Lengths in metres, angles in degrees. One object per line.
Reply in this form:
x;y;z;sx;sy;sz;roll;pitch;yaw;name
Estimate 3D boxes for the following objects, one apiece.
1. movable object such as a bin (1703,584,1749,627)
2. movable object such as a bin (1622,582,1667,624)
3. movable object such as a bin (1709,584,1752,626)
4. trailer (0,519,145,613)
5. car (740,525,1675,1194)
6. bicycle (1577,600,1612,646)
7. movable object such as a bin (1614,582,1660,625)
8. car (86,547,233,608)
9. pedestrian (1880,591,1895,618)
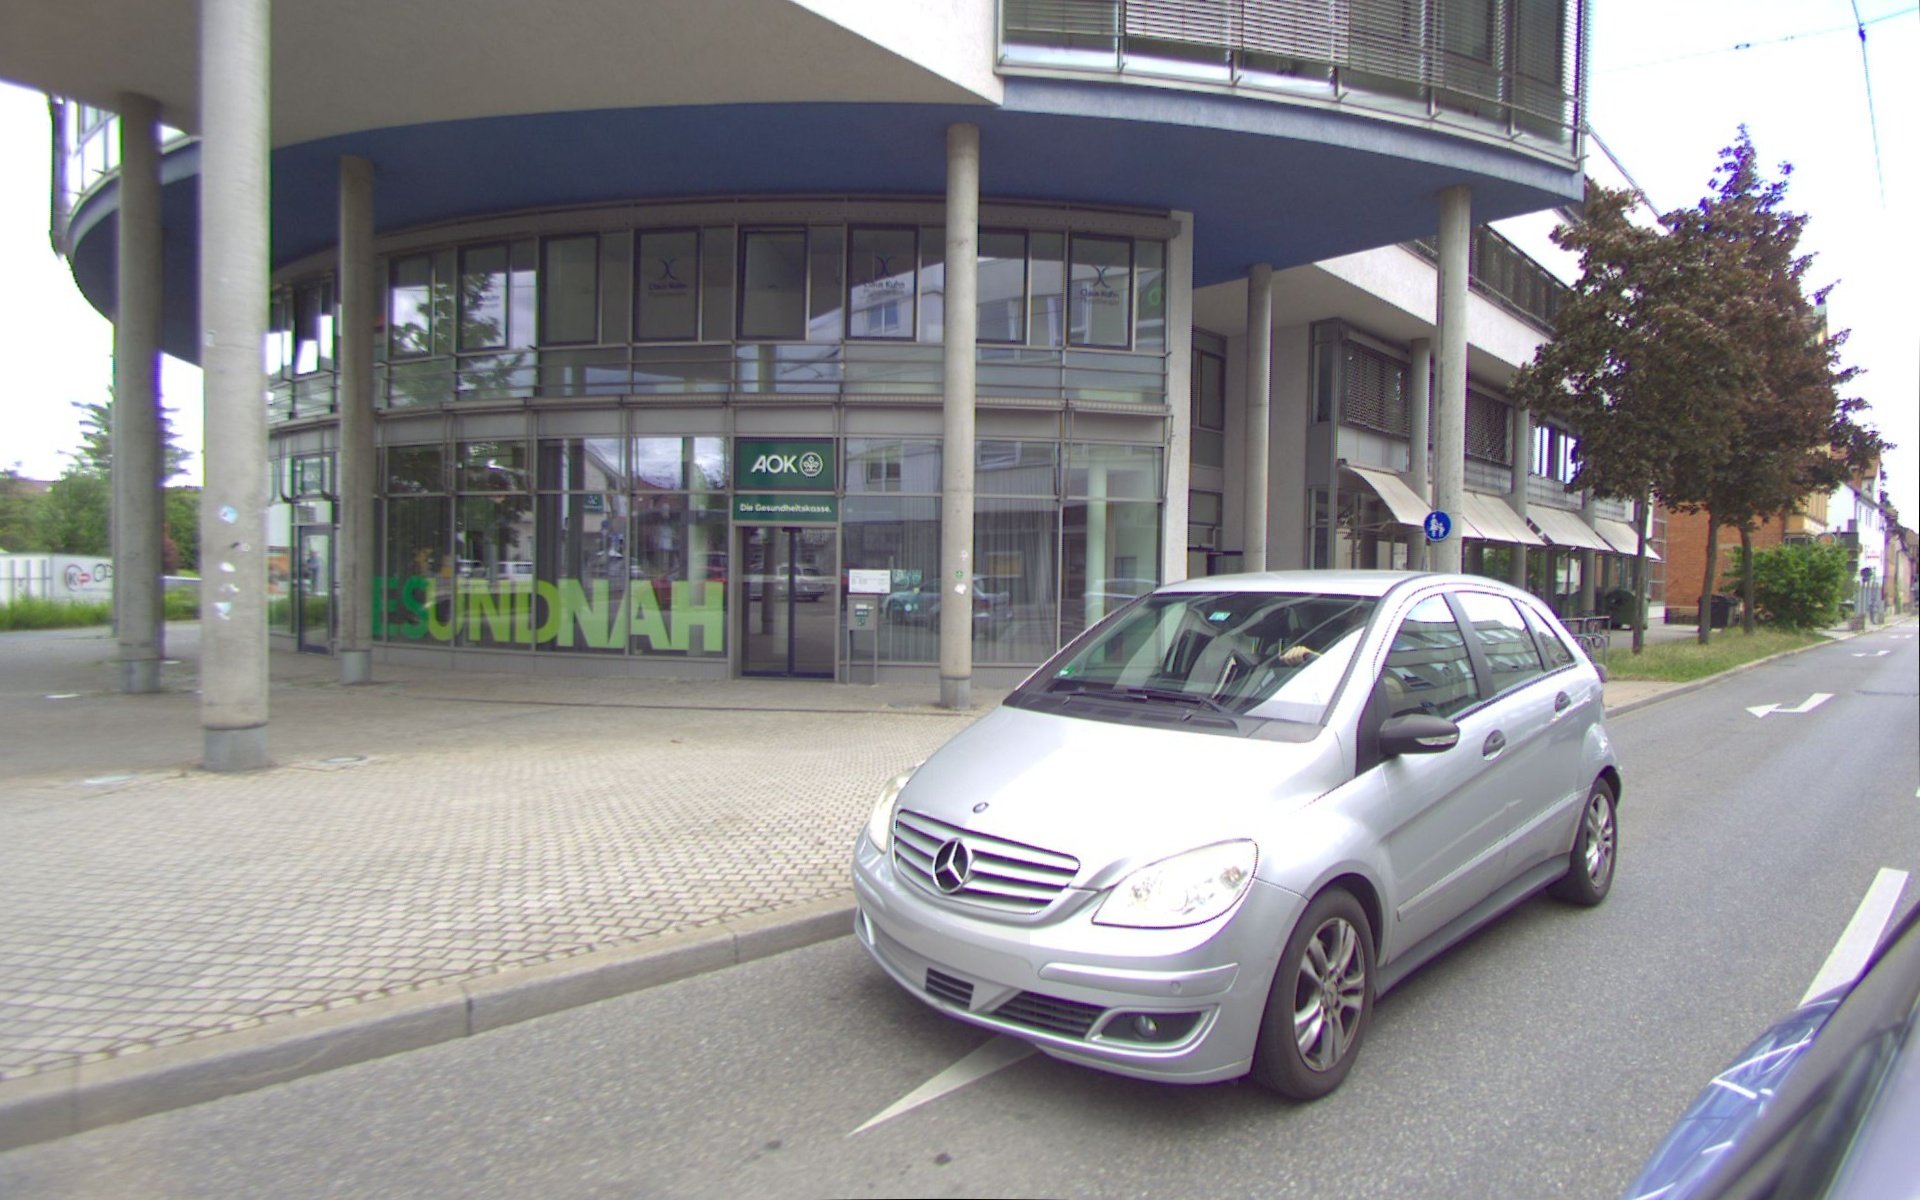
28.249;0.194;37.315;1.128;1.483;1.390;4;3;44;movable object such as a bin
25.589;0.081;37.847;1.122;1.483;1.312;4;3;44;movable object such as a bin
29.165;0.180;38.308;1.098;1.483;1.312;4;3;44;movable object such as a bin
-26.986;-1.005;30.494;1.845;2.646;4.330;1;1;-9;trailer
1.483;0.598;4.637;4.492;1.566;1.996;0;0;-42;car
16.046;0.570;25.570;0.361;1.100;1.995;0;1;43;bicycle
24.669;0.098;36.873;1.098;1.483;1.312;4;3;44;movable object such as a bin
-27.563;-0.778;35.081;1.845;1.970;4.915;1;1;-9;car
60.445;0.294;65.961;0.688;1.752;0.639;2;2;44;pedestrian
